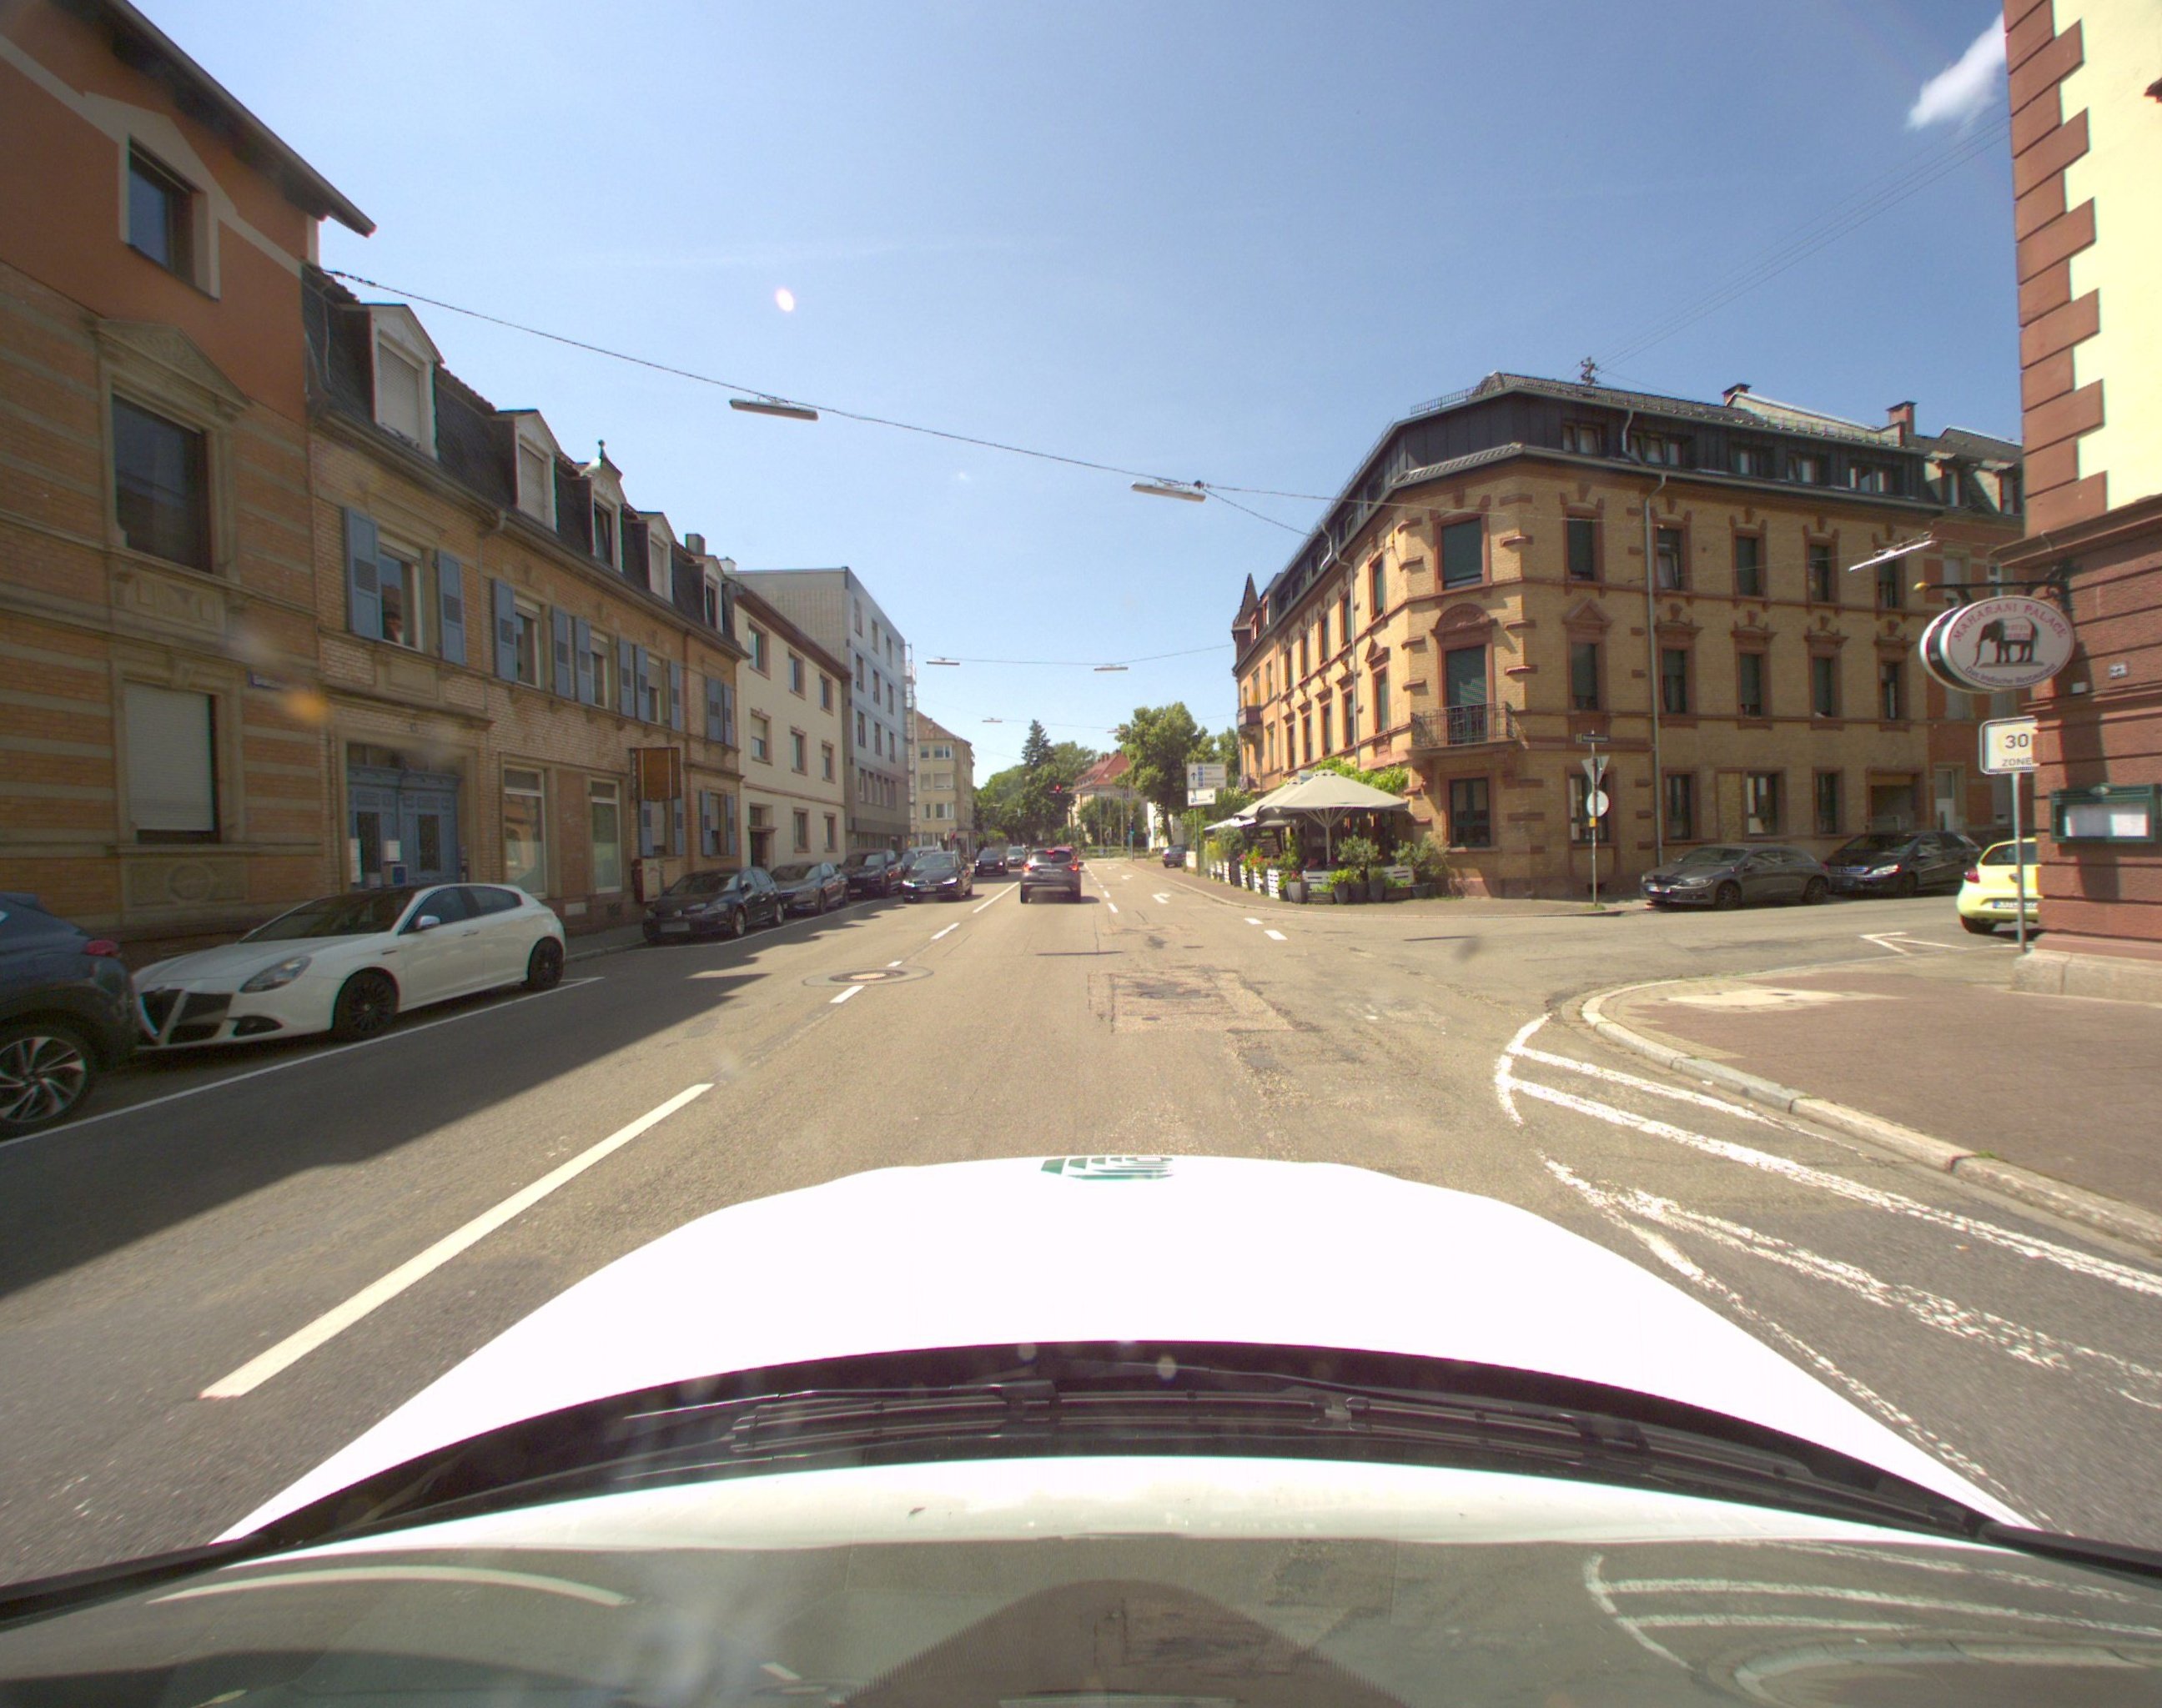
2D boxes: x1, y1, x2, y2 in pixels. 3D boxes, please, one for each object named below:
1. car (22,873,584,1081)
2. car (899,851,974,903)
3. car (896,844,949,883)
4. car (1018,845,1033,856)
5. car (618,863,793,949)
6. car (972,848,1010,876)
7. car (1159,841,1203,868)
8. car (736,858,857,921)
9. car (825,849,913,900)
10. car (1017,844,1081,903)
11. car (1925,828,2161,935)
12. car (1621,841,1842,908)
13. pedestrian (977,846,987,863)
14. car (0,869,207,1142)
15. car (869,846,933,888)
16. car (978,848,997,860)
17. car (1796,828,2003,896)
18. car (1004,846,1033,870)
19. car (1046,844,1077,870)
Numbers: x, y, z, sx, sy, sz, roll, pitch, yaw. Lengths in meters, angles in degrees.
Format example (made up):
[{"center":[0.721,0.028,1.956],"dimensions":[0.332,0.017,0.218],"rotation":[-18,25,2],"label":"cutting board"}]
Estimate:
[{"center":[-7.669,1.053,8.823],"dimensions":[1.860,1.426,4.329],"rotation":[-5,0,-1],"label":"car"},{"center":[-4.603,0.676,26.460],"dimensions":[1.755,1.494,4.242],"rotation":[-2,0,-2],"label":"car"},{"center":[-8.149,0.453,42.206],"dimensions":[1.909,1.825,4.784],"rotation":[-3,0,-2],"label":"car"},{"center":[-9.868,-0.659,145.314],"dimensions":[1.996,1.807,3.982],"rotation":[0,1,-13],"label":"car"},{"center":[-7.798,0.999,17.433],"dimensions":[1.861,1.406,4.324],"rotation":[-5,0,-4],"label":"car"},{"center":[-5.116,0.438,46.673],"dimensions":[1.696,1.478,4.132],"rotation":[-2,0,0],"label":"car"},{"center":[6.772,-0.006,54.639],"dimensions":[1.819,1.548,5.182],"rotation":[-2,2,19],"label":"car"},{"center":[-7.822,0.902,22.929],"dimensions":[1.861,1.406,4.831],"rotation":[-5,0,-3],"label":"car"},{"center":[-7.619,0.685,29.773],"dimensions":[1.879,1.641,4.817],"rotation":[-3,0,0],"label":"car"},{"center":[-0.891,0.519,24.597],"dimensions":[1.748,1.632,4.000],"rotation":[0,1,0],"label":"car"},{"center":[15.761,0.391,12.728],"dimensions":[3.993,1.479,1.795],"rotation":[-1,-2,-14],"label":"car"},{"center":[14.975,0.426,18.837],"dimensions":[3.990,1.365,1.909],"rotation":[-1,1,-12],"label":"car"},{"center":[-10.850,0.054,89.103],"dimensions":[0.936,1.931,0.973],"rotation":[-1,0,-13],"label":"pedestrian"},{"center":[-7.459,1.005,3.800],"dimensions":[1.860,1.627,4.497],"rotation":[-5,0,-2],"label":"car"},{"center":[-7.830,0.544,35.921],"dimensions":[1.880,1.641,4.659],"rotation":[-3,0,-2],"label":"car"},{"center":[-12.046,0.007,104.872],"dimensions":[1.997,1.519,3.980],"rotation":[0,-1,-14],"label":"car"},{"center":[20.564,0.173,20.509],"dimensions":[4.130,1.536,1.907],"rotation":[-1,1,-15],"label":"car"},{"center":[-4.466,0.247,58.498],"dimensions":[1.696,1.574,4.311],"rotation":[-2,0,0],"label":"car"},{"center":[-1.181,0.183,50.772],"dimensions":[1.793,1.557,4.037],"rotation":[0,0,0],"label":"car"}]
